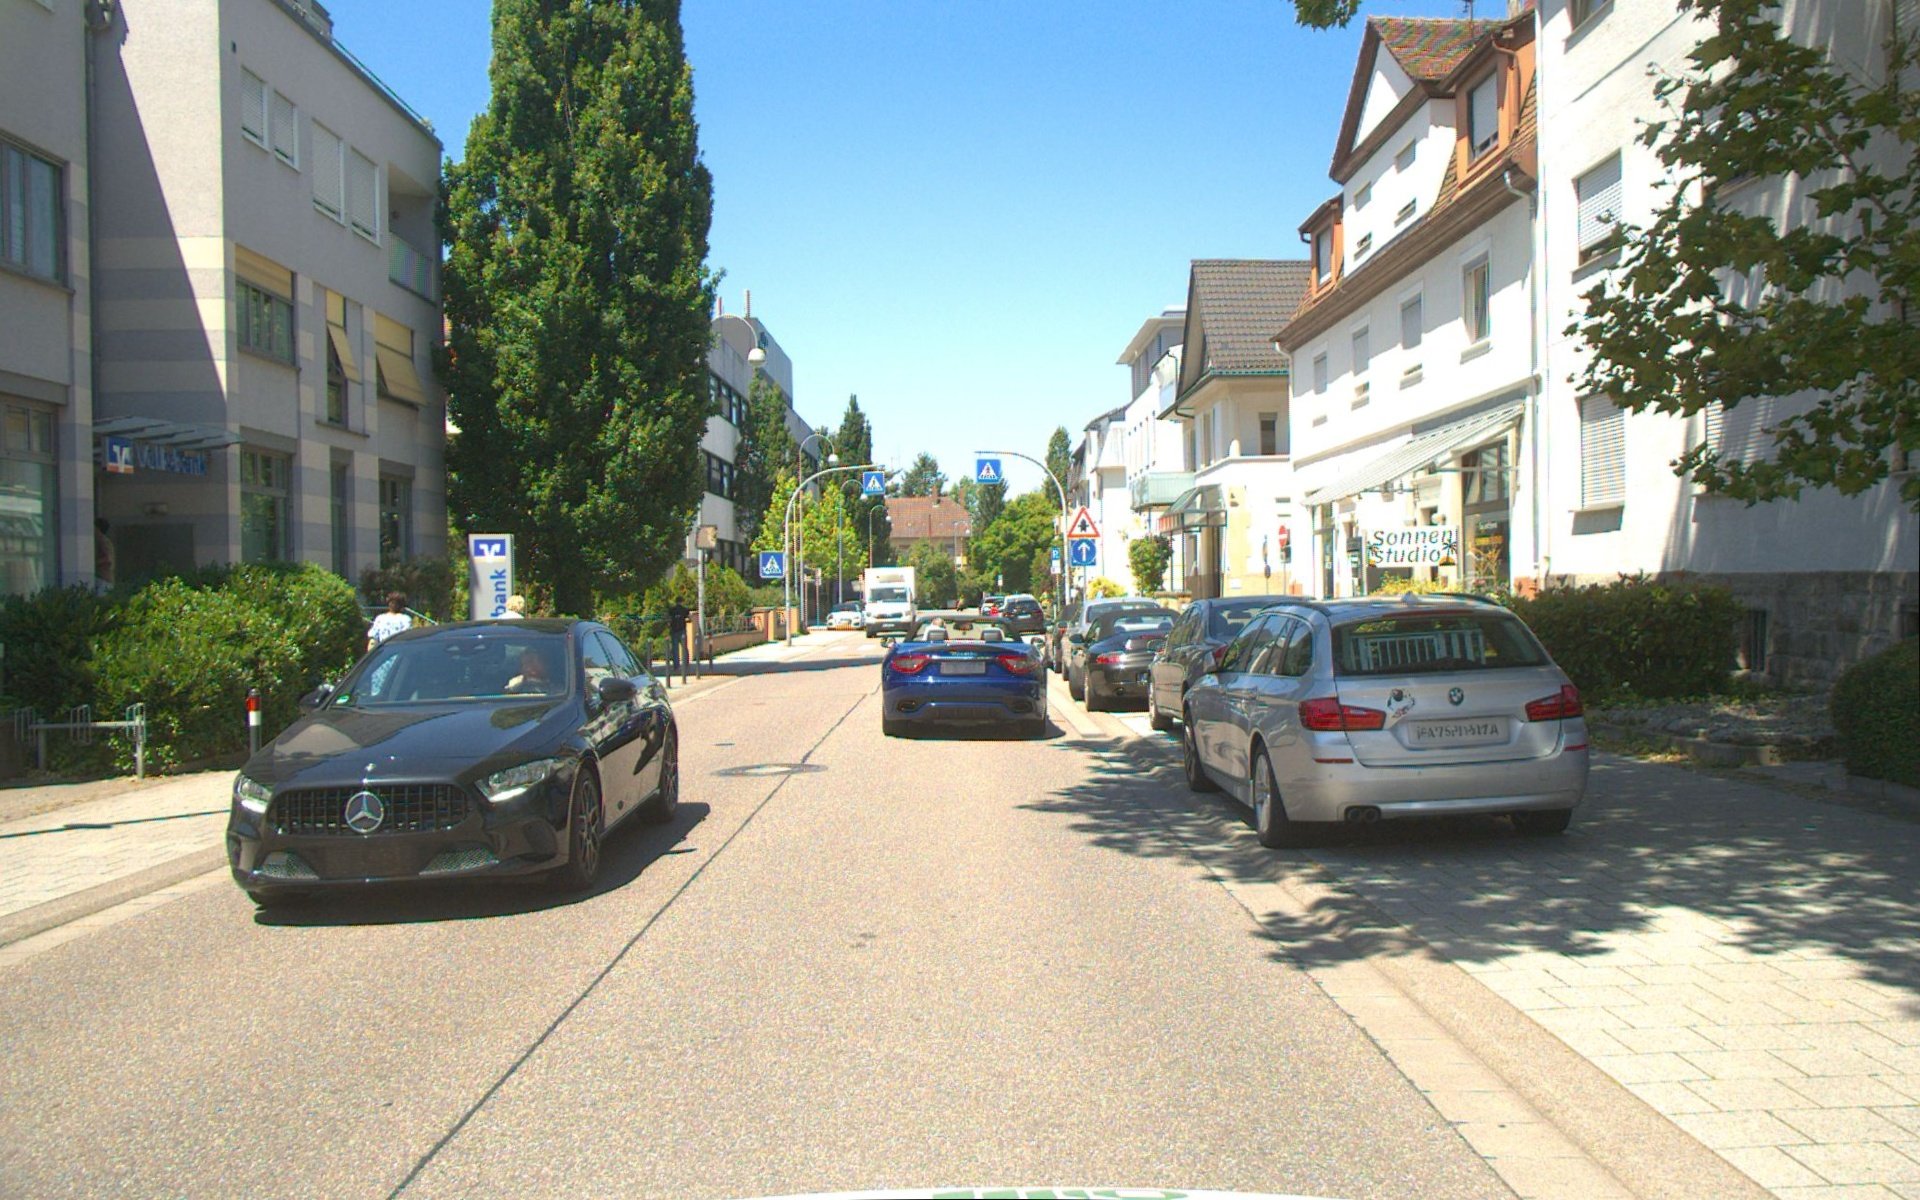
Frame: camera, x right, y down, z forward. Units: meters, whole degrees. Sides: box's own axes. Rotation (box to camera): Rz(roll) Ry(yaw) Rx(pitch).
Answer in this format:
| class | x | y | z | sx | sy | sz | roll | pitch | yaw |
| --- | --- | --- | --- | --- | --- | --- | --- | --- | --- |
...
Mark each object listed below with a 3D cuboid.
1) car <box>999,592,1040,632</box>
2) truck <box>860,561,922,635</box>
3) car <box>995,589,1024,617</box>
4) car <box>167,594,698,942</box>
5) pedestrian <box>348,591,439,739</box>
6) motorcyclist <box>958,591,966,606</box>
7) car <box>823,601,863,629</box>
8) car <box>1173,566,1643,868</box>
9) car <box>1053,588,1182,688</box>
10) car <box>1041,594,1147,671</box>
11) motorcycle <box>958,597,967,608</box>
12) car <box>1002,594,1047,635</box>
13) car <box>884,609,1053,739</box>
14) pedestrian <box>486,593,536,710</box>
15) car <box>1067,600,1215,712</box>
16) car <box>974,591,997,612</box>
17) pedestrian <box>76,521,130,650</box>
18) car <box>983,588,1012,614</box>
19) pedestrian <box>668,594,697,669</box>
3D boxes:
| class | x | y | z | sx | sy | sz | roll | pitch | yaw |
| --- | --- | --- | --- | --- | --- | --- | --- | --- | --- |
| car | 2.663 | 0.517 | 74.356 | 1.670 | 1.695 | 4.580 | -1 | 0 | 0 |
| truck | -2.984 | -0.089 | 72.616 | 2.370 | 3.035 | 6.257 | -2 | 0 | 0 |
| car | 2.868 | 0.175 | 96.062 | 1.571 | 1.465 | 3.853 | -4 | 0 | 1 |
| car | -2.832 | 0.787 | 9.960 | 1.792 | 1.537 | 4.262 | -3 | 0 | -1 |
| pedestrian | -6.608 | 0.740 | 19.323 | 0.733 | 1.673 | 0.848 | -1 | 0 | 1 |
| motorcyclist | 0.210 | -0.113 | 167.060 | 0.684 | 1.458 | 0.708 | -3 | 0 | 8 |
| car | -6.224 | 0.765 | 88.509 | 1.785 | 1.436 | 4.577 | 0 | 0 | 0 |
| car | 2.704 | 0.623 | 11.220 | 1.792 | 1.537 | 4.759 | -2 | 0 | -1 |
| car | 2.664 | 0.615 | 28.948 | 1.708 | 1.494 | 4.851 | -4 | 0 | 0 |
| car | 2.746 | 0.638 | 34.892 | 1.789 | 1.451 | 4.700 | -2 | 0 | 0 |
| motorcycle | 0.246 | 0.237 | 167.195 | 0.684 | 1.126 | 1.792 | -3 | 0 | 8 |
| car | 2.625 | 0.556 | 68.449 | 1.670 | 1.583 | 4.748 | -1 | 0 | 0 |
| car | 0.087 | 0.798 | 19.923 | 1.789 | 1.360 | 4.700 | 0 | 0 | 0 |
| pedestrian | -6.682 | 0.754 | 24.643 | 0.525 | 1.715 | 0.708 | -1 | 0 | 0 |
| car | 2.450 | 0.713 | 23.245 | 1.526 | 1.364 | 4.173 | -2 | 0 | -1 |
| car | 1.929 | 0.074 | 127.862 | 1.598 | 1.471 | 4.397 | -4 | 0 | 0 |
| pedestrian | -11.952 | -0.204 | 23.065 | 0.575 | 1.769 | 0.604 | -1 | 0 | -36 |
| car | 2.542 | 0.033 | 113.149 | 1.806 | 1.647 | 4.427 | -3 | 0 | 0 |
| pedestrian | -6.421 | 0.727 | 38.304 | 0.525 | 1.715 | 0.708 | -1 | 0 | 0 |
